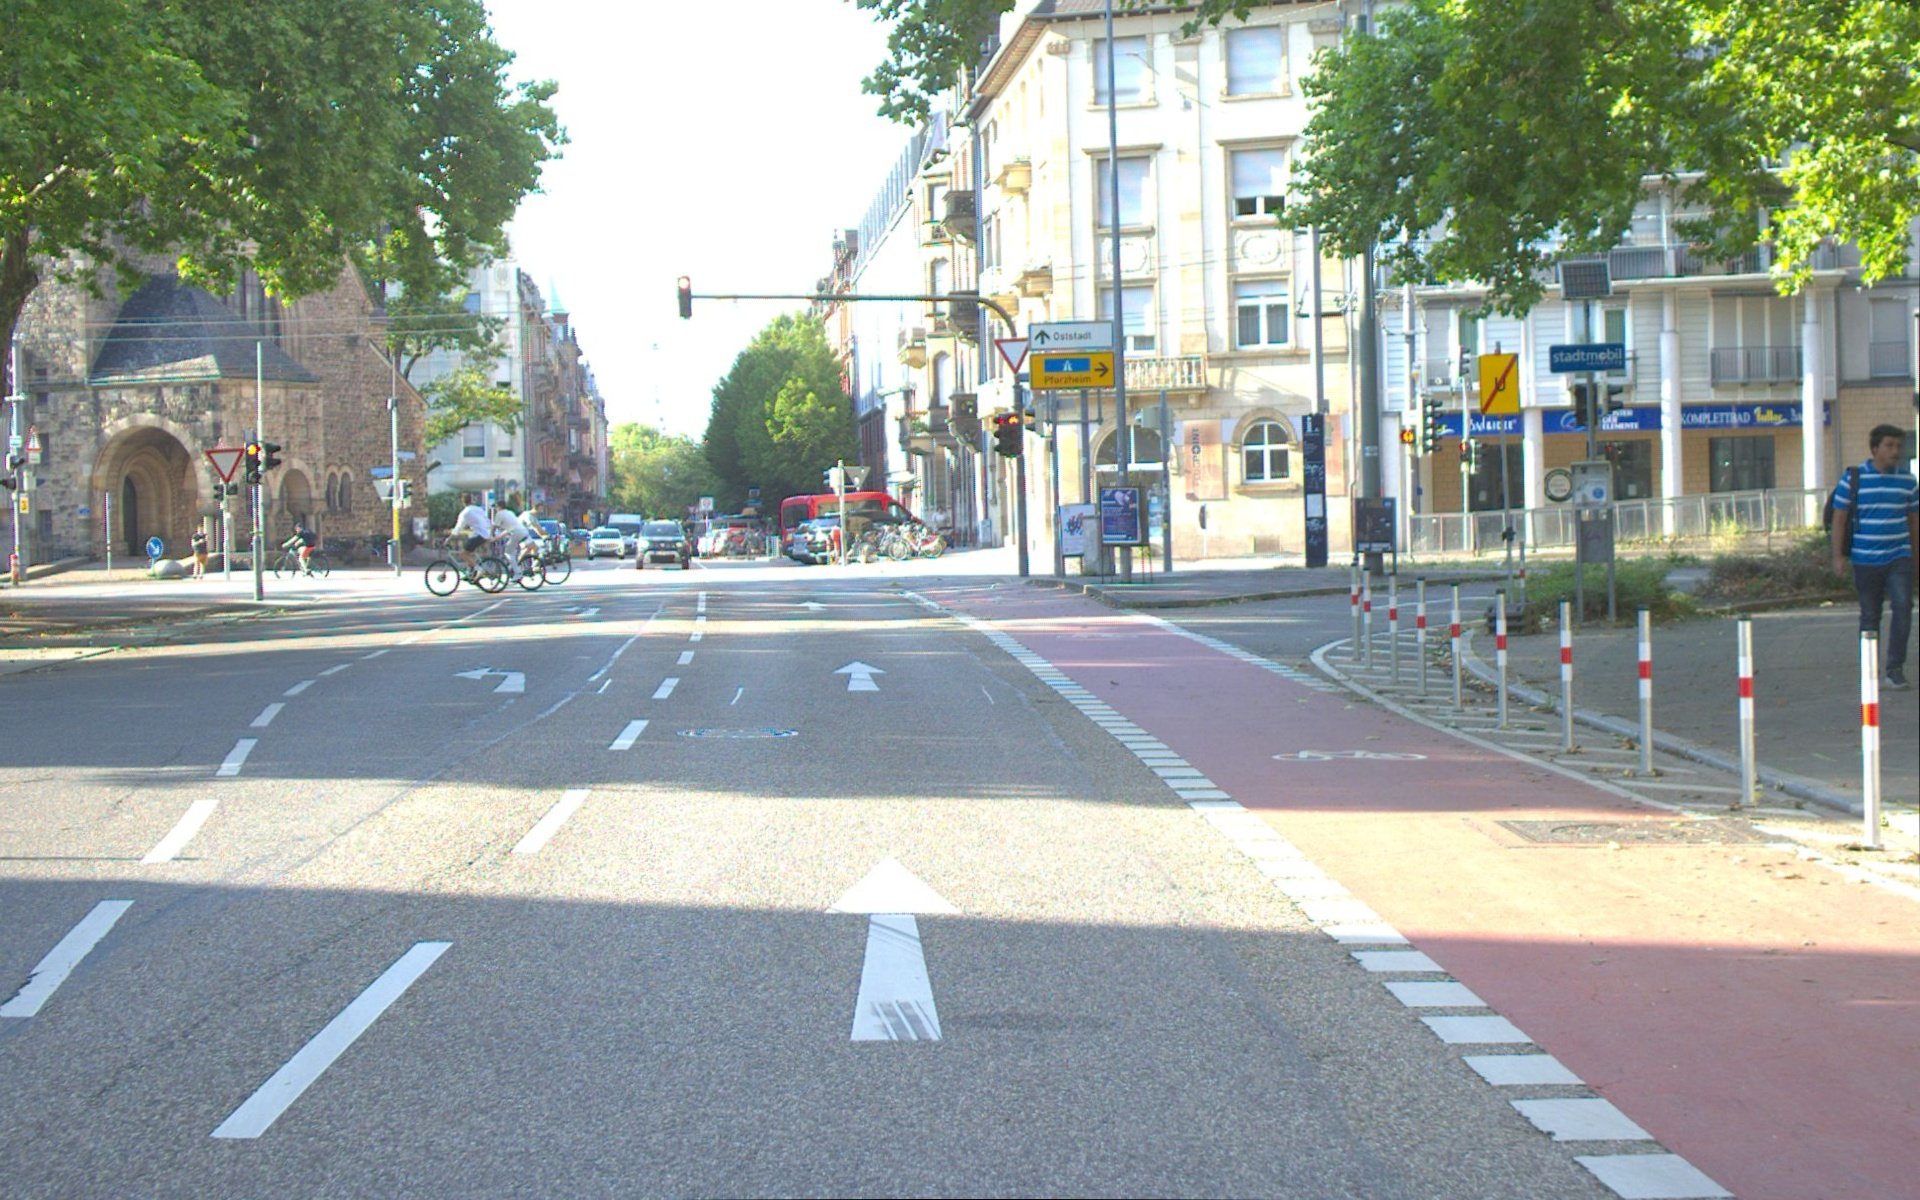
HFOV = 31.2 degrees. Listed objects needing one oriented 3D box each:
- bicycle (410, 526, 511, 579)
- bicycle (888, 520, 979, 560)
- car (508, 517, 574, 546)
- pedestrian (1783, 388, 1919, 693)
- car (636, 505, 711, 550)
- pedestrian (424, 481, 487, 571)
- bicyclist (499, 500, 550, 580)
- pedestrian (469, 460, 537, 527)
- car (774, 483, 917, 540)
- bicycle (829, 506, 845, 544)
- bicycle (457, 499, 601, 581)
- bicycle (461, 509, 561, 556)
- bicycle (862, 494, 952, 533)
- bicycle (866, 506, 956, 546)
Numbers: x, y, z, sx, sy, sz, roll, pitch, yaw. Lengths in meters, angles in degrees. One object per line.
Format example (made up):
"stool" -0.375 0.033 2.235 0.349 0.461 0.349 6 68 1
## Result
"bicycle" -9.520 -0.901 65.538 1.785 0.978 0.656 1 1 14
"bicycle" -0.825 -1.877 107.937 2.802 1.199 0.510 1 0 -7
"car" -17.376 -2.831 142.666 1.595 1.140 3.381 1 1 15
"pedestrian" 6.290 -0.412 23.672 0.827 2.007 1.153 -4 1 -1
"car" -9.710 -2.451 116.660 1.587 1.457 3.181 1 1 13
"pedestrian" -9.618 -1.404 65.539 0.992 1.702 0.628 1 0 15
"bicyclist" -9.045 -1.243 71.435 0.802 1.651 0.934 1 0 8
"pedestrian" -8.900 -2.068 66.982 1.050 1.273 0.791 1 1 22
"car" -4.240 -3.275 127.796 4.988 2.007 2.166 0 1 -39
"bicycle" -3.958 -2.403 110.716 0.508 1.199 2.092 1 1 -2
"bicycle" -8.950 -1.241 71.404 2.842 1.650 0.830 1 0 8
"bicycle" -8.744 -1.316 66.961 1.783 0.892 0.750 0 2 22
"bicycle" -1.688 -2.763 109.811 2.802 1.199 0.510 1 0 -7
"bicycle" -1.559 -2.342 109.116 2.802 1.199 0.517 1 0 -7
